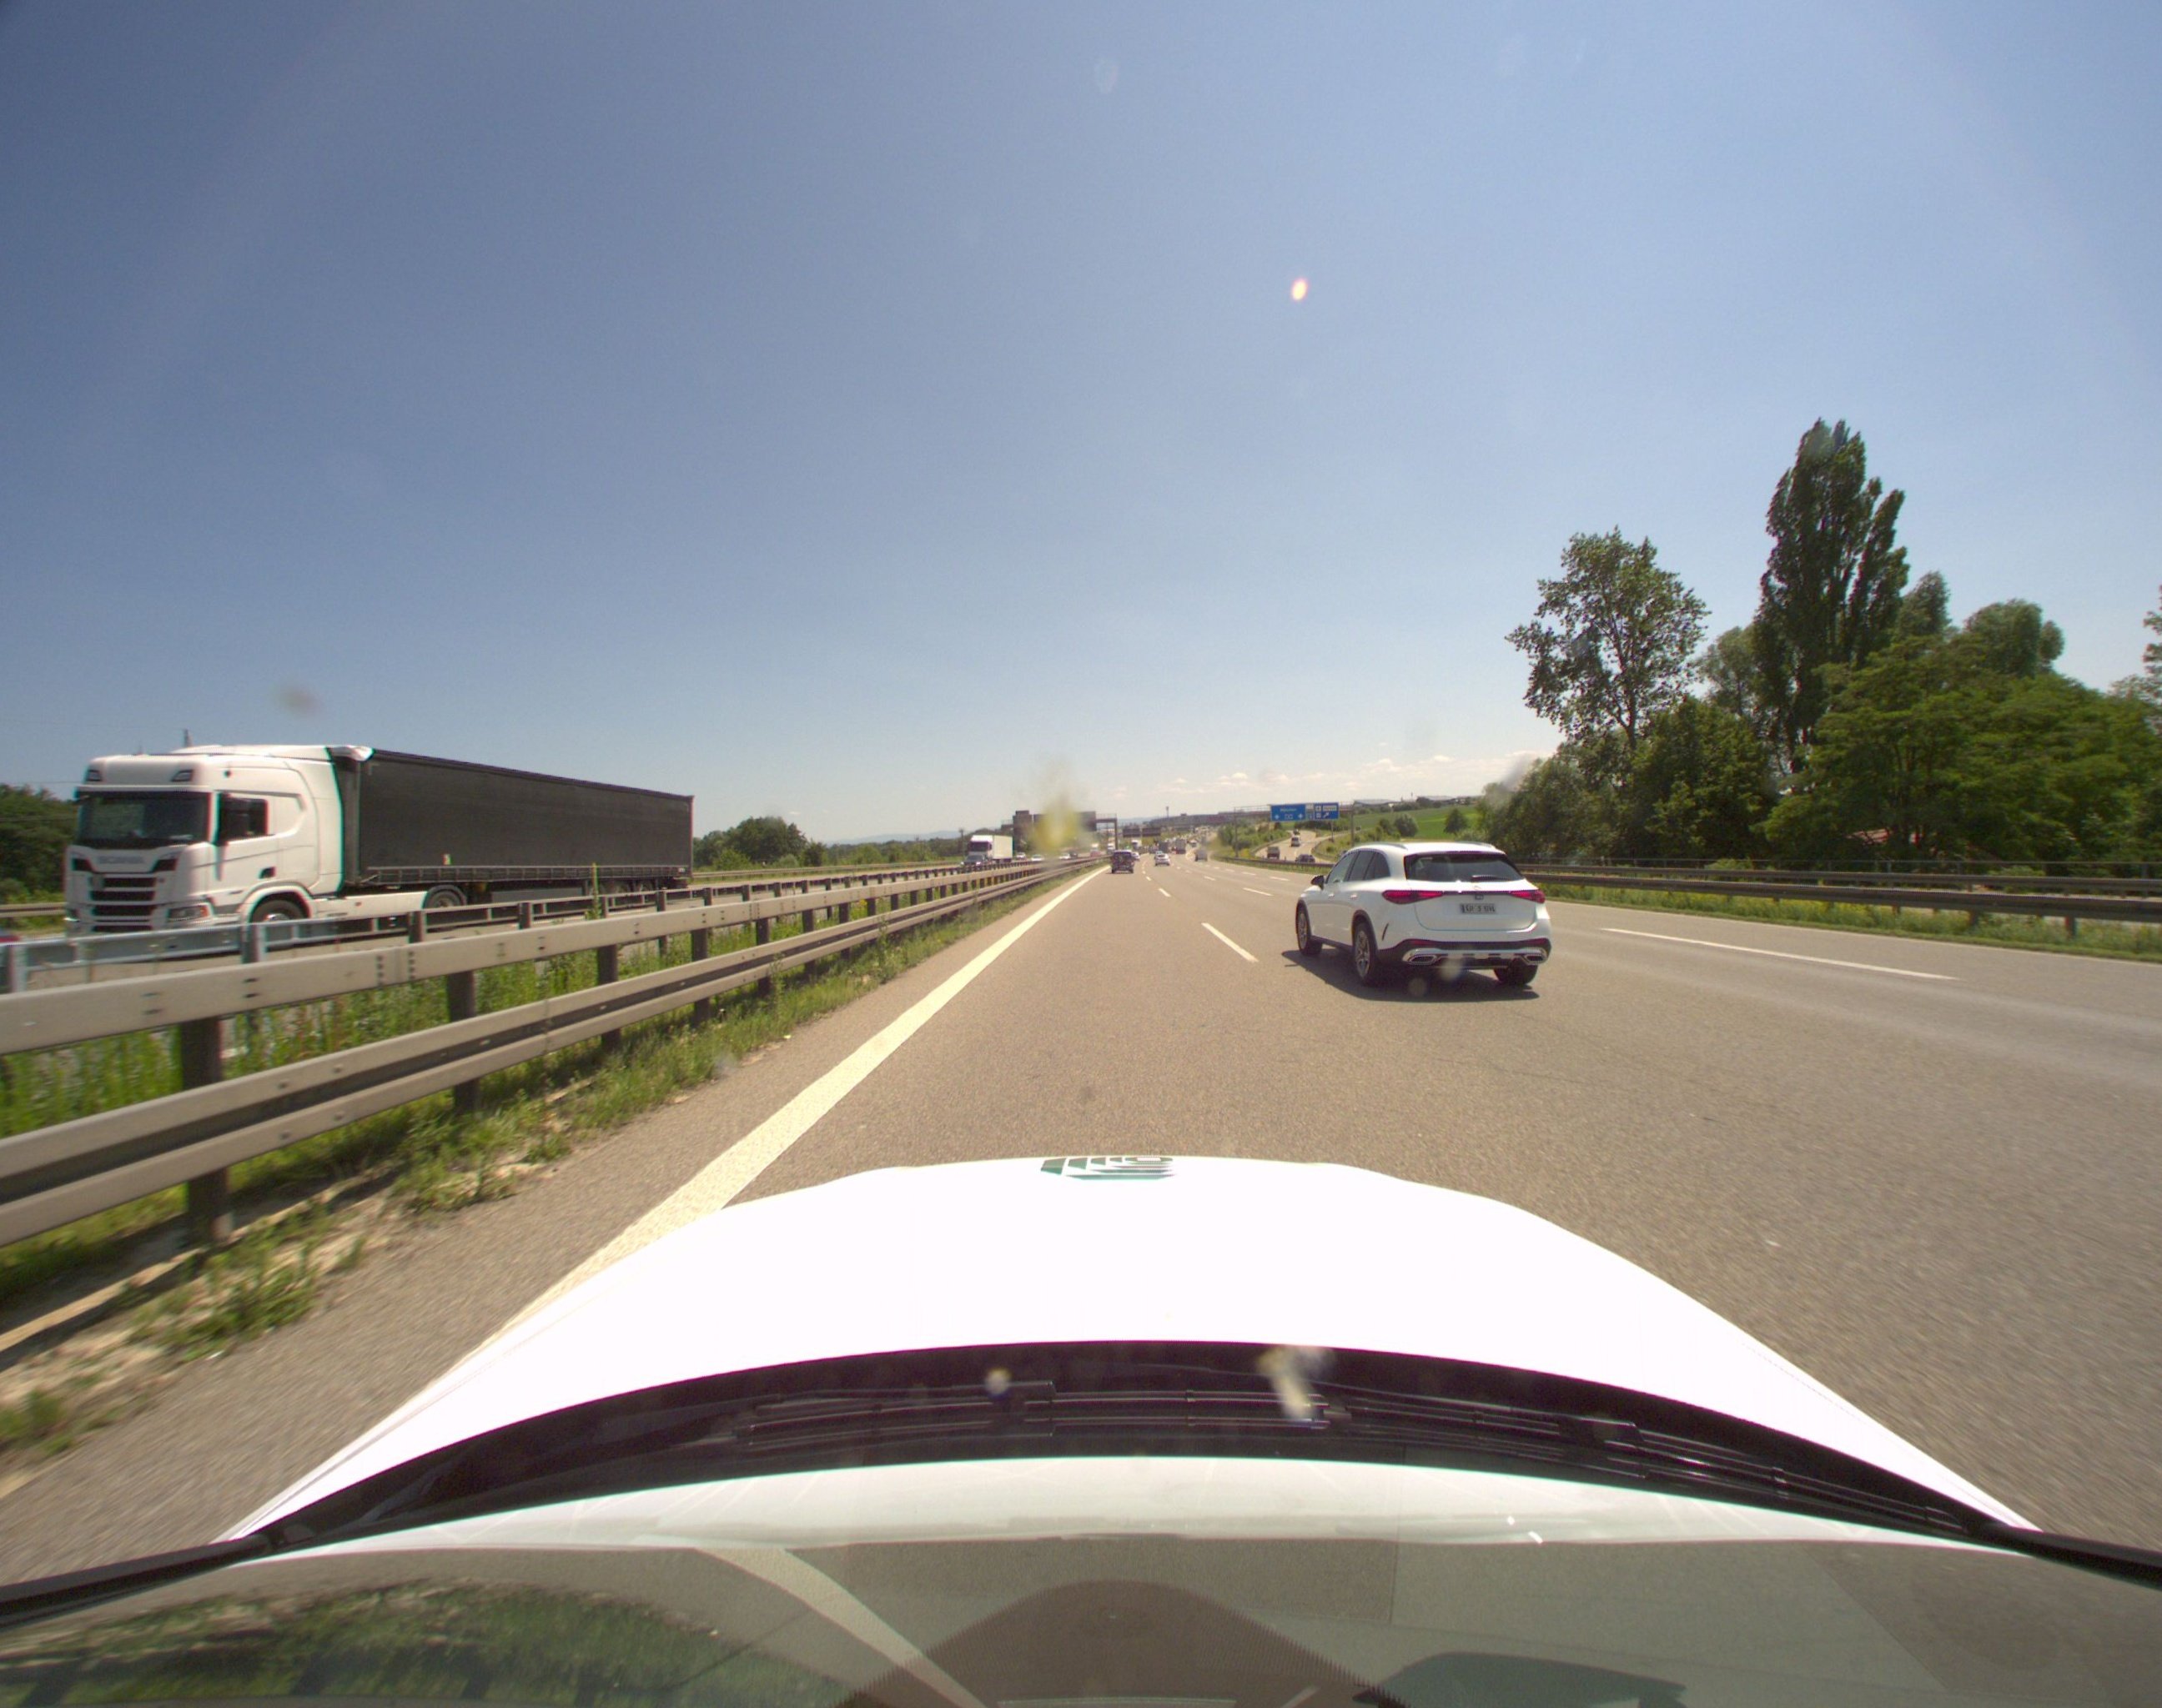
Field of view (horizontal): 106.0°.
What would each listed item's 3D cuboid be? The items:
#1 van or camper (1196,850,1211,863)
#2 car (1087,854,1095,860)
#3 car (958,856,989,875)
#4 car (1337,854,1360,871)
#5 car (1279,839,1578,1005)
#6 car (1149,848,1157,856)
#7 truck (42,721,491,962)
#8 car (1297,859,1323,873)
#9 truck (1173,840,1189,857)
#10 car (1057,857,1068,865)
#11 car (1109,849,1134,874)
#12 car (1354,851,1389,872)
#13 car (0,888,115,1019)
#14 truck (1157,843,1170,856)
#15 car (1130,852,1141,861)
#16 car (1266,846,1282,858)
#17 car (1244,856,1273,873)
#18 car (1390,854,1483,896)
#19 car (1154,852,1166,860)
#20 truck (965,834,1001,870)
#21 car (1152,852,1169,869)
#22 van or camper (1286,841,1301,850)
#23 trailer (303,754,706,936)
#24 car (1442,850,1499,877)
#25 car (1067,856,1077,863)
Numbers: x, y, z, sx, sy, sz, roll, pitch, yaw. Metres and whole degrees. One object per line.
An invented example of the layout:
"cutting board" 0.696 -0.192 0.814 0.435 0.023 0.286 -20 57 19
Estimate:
"van or camper" 19.680 0.375 130.917 2.146 2.014 4.310 -1 -1 5
"car" 2.601 0.793 204.949 1.667 1.614 4.367 -1 0 4
"car" -9.693 1.006 73.916 1.985 1.645 4.667 0 0 3
"car" 32.208 1.043 98.206 1.928 1.923 4.189 -1 -1 8
"car" 4.094 0.700 10.671 1.891 1.647 5.000 -1 0 2
"car" 20.667 -0.574 234.165 2.174 2.002 4.009 -1 3 7
"truck" -16.260 -0.206 17.139 2.870 4.117 6.388 0 0 2
"car" 27.254 1.463 96.925 1.987 1.596 4.000 -1 -1 1
"truck" 28.306 -1.634 230.458 4.016 4.261 11.788 -1 2 9
"car" -3.414 1.355 150.776 1.650 1.403 4.764 0 0 4
"car" 3.274 0.577 65.593 1.919 1.919 4.951 -1 0 2
"car" 27.574 0.672 77.391 1.932 1.923 4.179 -1 -1 1
"car" -12.532 1.093 7.538 1.699 1.360 4.500 0 0 2
"truck" 21.519 -1.197 212.046 2.687 3.109 10.684 -1 0 9
"car" 9.117 0.419 136.413 1.568 1.552 3.971 -1 -1 7
"car" 32.788 -0.288 138.565 1.985 2.014 4.004 -1 -1 4
"car" 18.131 1.038 83.336 1.988 1.690 3.998 -1 -1 -1
"car" 13.055 0.740 30.249 1.777 1.437 4.855 -1 0 6
"car" 15.136 0.331 156.133 1.970 1.473 4.010 -1 0 9
"truck" -11.825 -0.220 98.998 3.022 4.240 6.692 -1 0 4
"car" 9.620 0.790 99.031 1.918 1.919 4.523 -1 -1 4
"van or camper" 52.062 -2.040 199.592 2.521 2.014 4.459 -1 -1 -1
"trailer" -15.956 -0.195 24.734 2.879 4.113 12.592 0 0 2
"car" 23.769 0.564 49.867 1.693 1.575 4.131 -1 0 3
"car" -2.110 1.200 192.860 1.839 1.655 4.916 0 0 4
